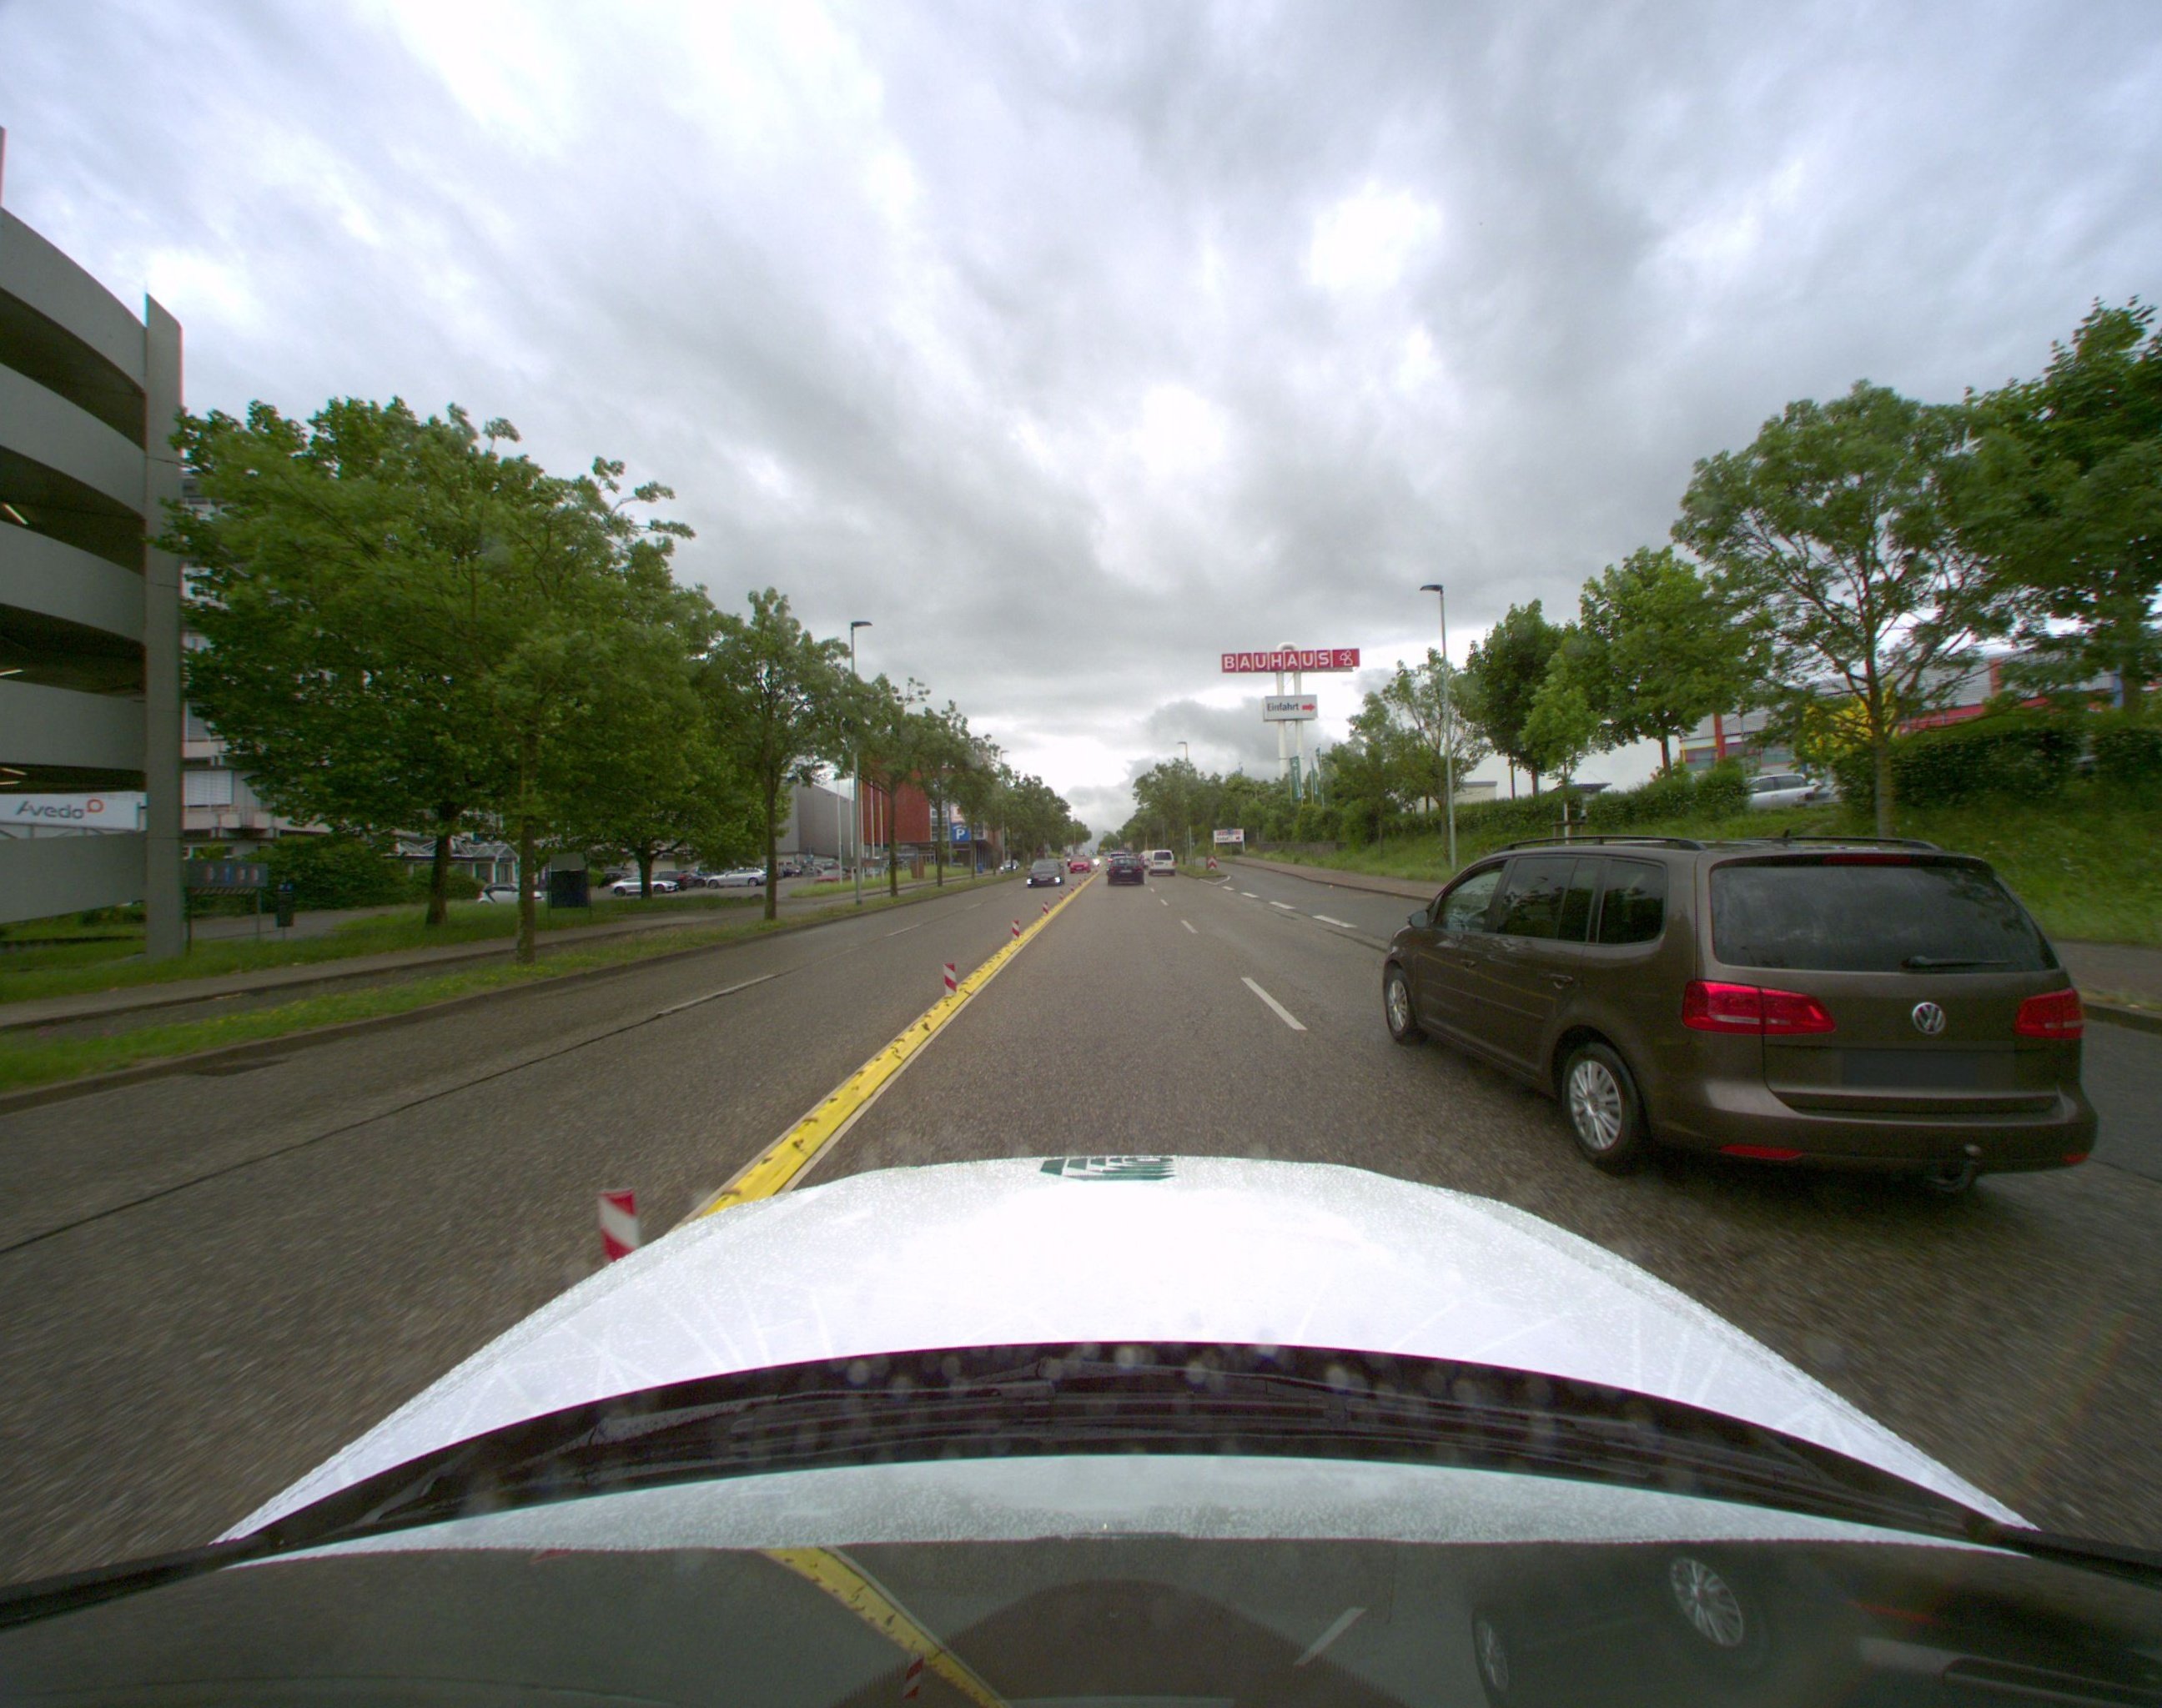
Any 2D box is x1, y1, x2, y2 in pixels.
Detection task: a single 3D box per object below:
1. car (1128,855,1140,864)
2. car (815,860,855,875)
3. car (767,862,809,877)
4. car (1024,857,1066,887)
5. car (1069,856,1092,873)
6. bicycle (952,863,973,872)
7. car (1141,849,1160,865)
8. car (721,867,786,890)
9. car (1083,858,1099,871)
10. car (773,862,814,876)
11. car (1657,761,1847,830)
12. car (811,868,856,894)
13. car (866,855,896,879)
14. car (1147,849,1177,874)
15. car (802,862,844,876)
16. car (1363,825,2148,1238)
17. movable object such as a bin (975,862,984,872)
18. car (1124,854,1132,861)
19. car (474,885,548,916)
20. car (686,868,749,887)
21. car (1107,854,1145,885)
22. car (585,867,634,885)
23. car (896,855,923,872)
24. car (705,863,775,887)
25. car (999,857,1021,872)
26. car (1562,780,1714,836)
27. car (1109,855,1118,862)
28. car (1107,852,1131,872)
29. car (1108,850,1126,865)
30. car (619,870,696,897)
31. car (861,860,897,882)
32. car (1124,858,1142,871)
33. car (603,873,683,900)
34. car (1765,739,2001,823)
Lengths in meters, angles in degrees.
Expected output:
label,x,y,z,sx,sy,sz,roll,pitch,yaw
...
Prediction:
label,x,y,z,sx,sy,sz,roll,pitch,yaw
car,8.809,0.925,135.635,1.789,1.510,3.998,0,-1,-1
car,-28.787,1.564,95.261,4.185,1.510,1.815,-1,1,-6
car,-33.249,1.752,92.388,4.103,1.510,1.815,-1,1,-6
car,-1.916,0.963,44.624,1.819,1.466,4.620,-2,0,3
car,-0.007,0.928,72.896,1.754,1.425,4.185,-3,0,4
bicycle,-13.345,1.514,91.701,2.066,0.935,1.095,3,-1,6
car,6.929,0.334,81.307,1.787,1.510,4.002,0,-1,2
car,-26.536,1.974,66.167,4.493,1.745,1.896,-1,1,-6
car,1.212,1.277,98.750,1.660,1.410,4.381,-4,0,3
car,-33.537,1.785,95.060,4.103,1.510,1.815,-1,1,-6
car,20.771,-1.789,25.325,4.338,1.629,1.926,-5,-1,-4
car,-17.697,1.898,58.483,1.928,1.608,4.707,-1,1,-3
car,-19.251,1.251,78.618,2.112,2.096,5.111,-1,1,-7
car,5.689,0.507,57.697,1.820,1.759,4.001,0,0,1
car,-28.682,1.664,90.710,4.103,1.510,1.815,-1,1,-6
car,3.338,0.703,5.266,1.679,1.581,4.220,0,-1,1
movable object such as a bin,-11.544,1.485,92.515,0.816,1.079,1.087,2,0,3
car,10.478,0.725,181.819,1.788,1.510,4.000,0,-1,1
car,-30.373,2.473,43.437,2.694,1.365,1.606,-4,1,-8
car,-32.036,2.054,71.875,4.604,1.510,2.021,-1,1,-6
car,2.340,0.780,42.175,1.819,1.468,4.004,-2,0,3
car,-49.663,2.323,85.827,3.980,1.732,1.797,-1,1,-5
car,-19.713,1.054,93.745,2.131,1.773,4.608,-1,1,0
car,-26.493,1.608,63.318,4.593,1.745,1.963,-1,1,-6
car,-8.061,1.196,92.475,1.860,1.553,4.577,-4,0,2
car,20.733,-1.691,30.426,4.338,1.629,1.926,-5,-1,-4
car,7.320,0.996,183.605,1.788,1.510,4.000,0,-1,1
car,2.916,0.627,62.338,1.787,1.510,4.002,0,-1,2
car,3.801,0.376,86.272,1.788,1.510,4.001,0,-1,1
car,-31.505,2.183,60.750,4.598,1.745,2.127,-1,1,-10
car,-17.996,1.514,72.909,2.033,1.762,4.944,-1,1,-1
car,6.122,1.215,95.720,1.789,1.510,3.998,0,-1,-1
car,-31.053,2.289,57.849,4.598,1.745,1.961,-1,1,-10
car,20.819,-1.869,21.263,4.338,1.629,1.926,-5,-1,-4
